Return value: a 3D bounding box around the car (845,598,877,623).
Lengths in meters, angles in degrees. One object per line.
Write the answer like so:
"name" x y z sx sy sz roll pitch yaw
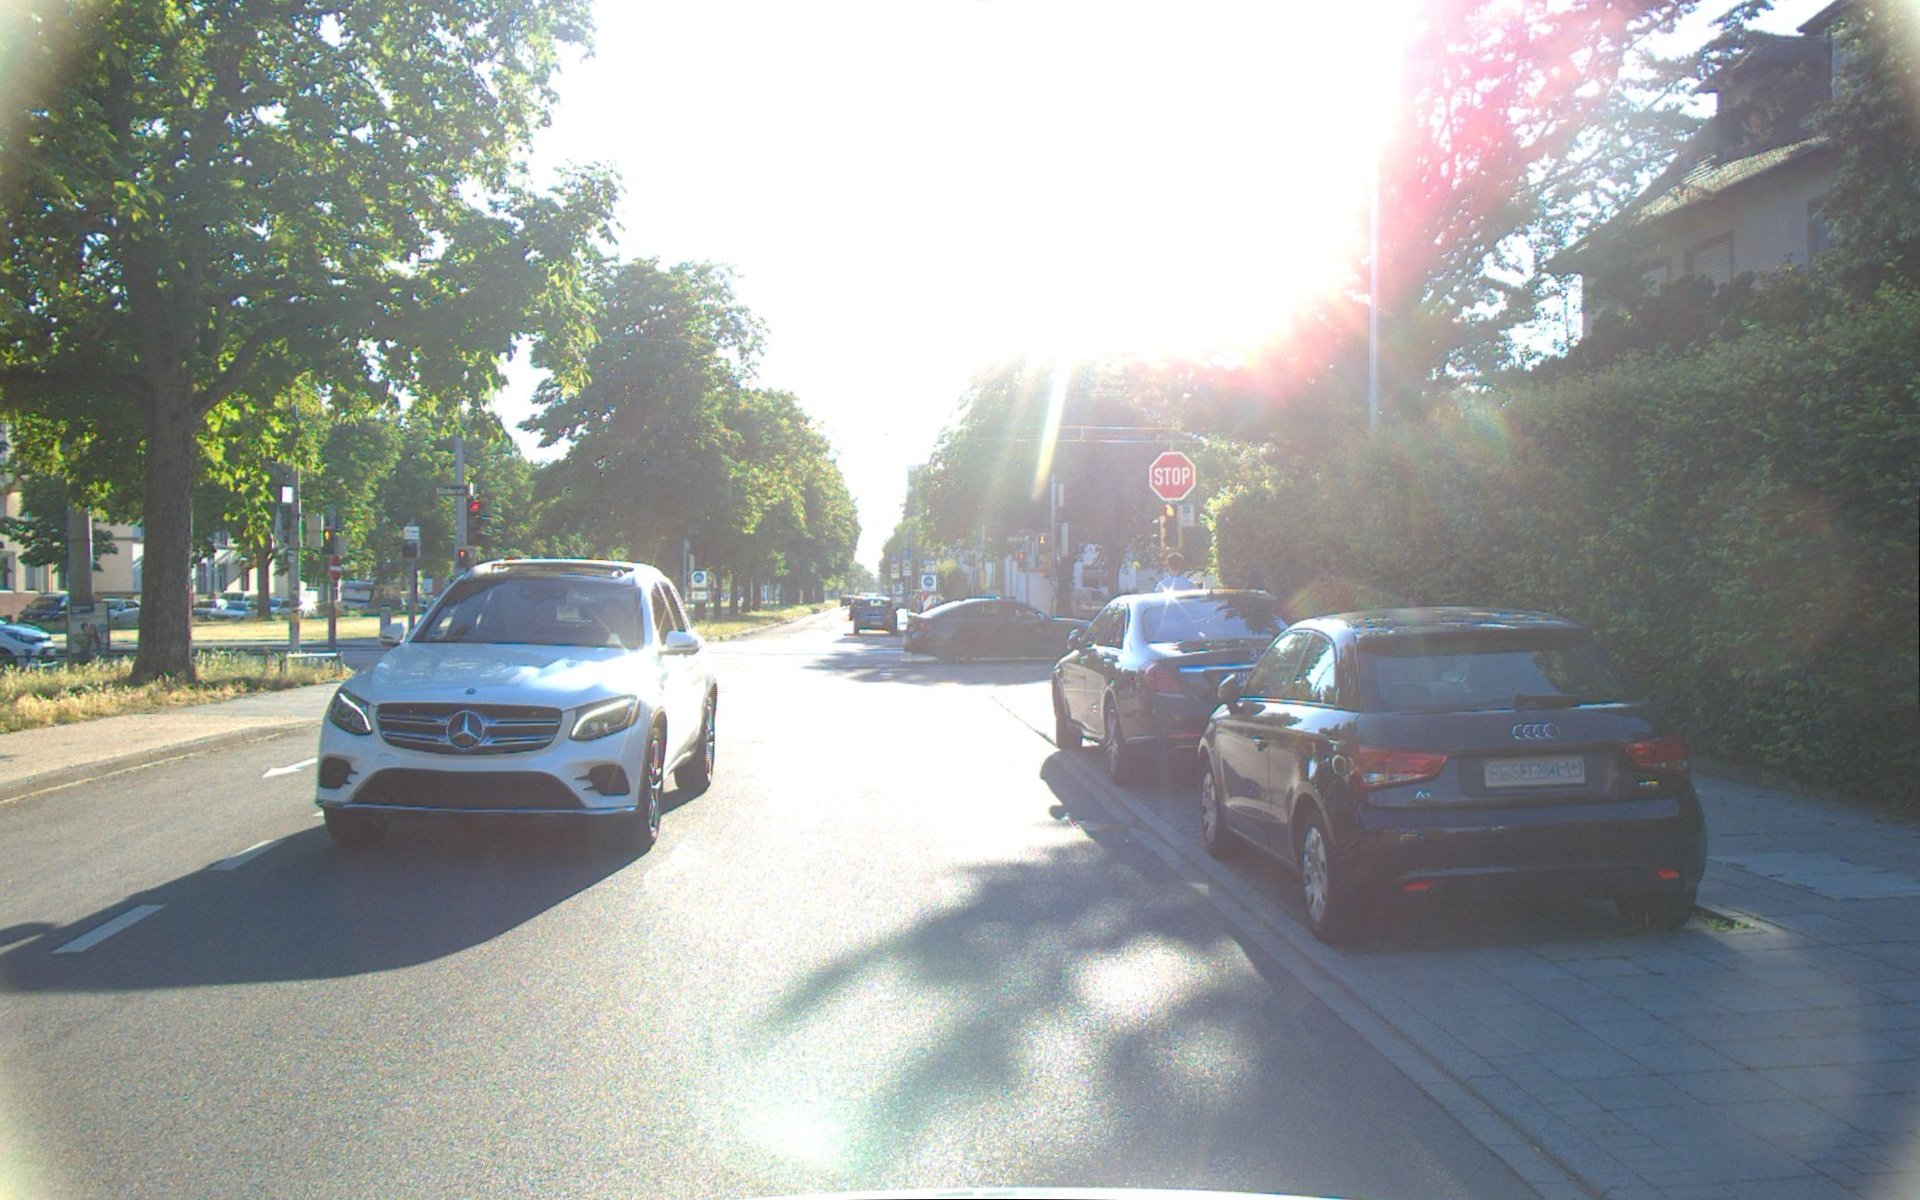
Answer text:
"car" -5.923 0.621 98.957 1.808 1.418 3.827 1 0 -2

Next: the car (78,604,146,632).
"car" -47.203 0.987 92.138 1.701 1.452 3.794 0 2 3

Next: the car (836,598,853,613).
"car" -15.527 0.710 222.018 2.091 2.049 3.900 0 0 -2

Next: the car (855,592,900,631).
"car" -3.224 0.444 65.081 1.607 1.476 3.307 0 0 -1

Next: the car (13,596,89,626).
"car" -47.180 0.573 85.886 1.701 1.422 3.794 0 2 3

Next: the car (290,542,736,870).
"car" -2.665 0.557 10.978 1.853 1.706 4.423 1 0 -2

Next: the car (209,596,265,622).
"car" -41.727 0.493 95.528 1.703 1.452 3.790 0 0 -2

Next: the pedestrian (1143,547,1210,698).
"pedestrian" 2.776 0.288 21.256 0.657 1.898 0.880 1 0 -6

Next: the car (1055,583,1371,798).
"car" 1.997 0.654 14.527 1.822 1.569 4.870 0 0 -3

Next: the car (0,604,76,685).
"car" -19.218 0.828 31.729 3.624 1.514 1.735 0 0 -15

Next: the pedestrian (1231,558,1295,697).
"pedestrian" 3.865 0.347 21.144 0.656 1.738 0.622 0 0 -6

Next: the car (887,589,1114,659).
"car" 0.861 0.517 36.016 4.679 1.459 1.810 0 0 -11

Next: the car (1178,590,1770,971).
"car" 2.312 0.703 8.535 1.608 1.452 3.934 -2 0 -3

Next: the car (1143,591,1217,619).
"car" 11.545 0.254 86.847 3.594 1.452 1.529 0 0 -7

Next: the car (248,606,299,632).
"car" -42.126 1.175 101.564 1.703 1.452 3.791 0 2 -2

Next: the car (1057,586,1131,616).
"car" 7.017 0.050 86.797 3.704 1.552 1.743 0 1 -3
